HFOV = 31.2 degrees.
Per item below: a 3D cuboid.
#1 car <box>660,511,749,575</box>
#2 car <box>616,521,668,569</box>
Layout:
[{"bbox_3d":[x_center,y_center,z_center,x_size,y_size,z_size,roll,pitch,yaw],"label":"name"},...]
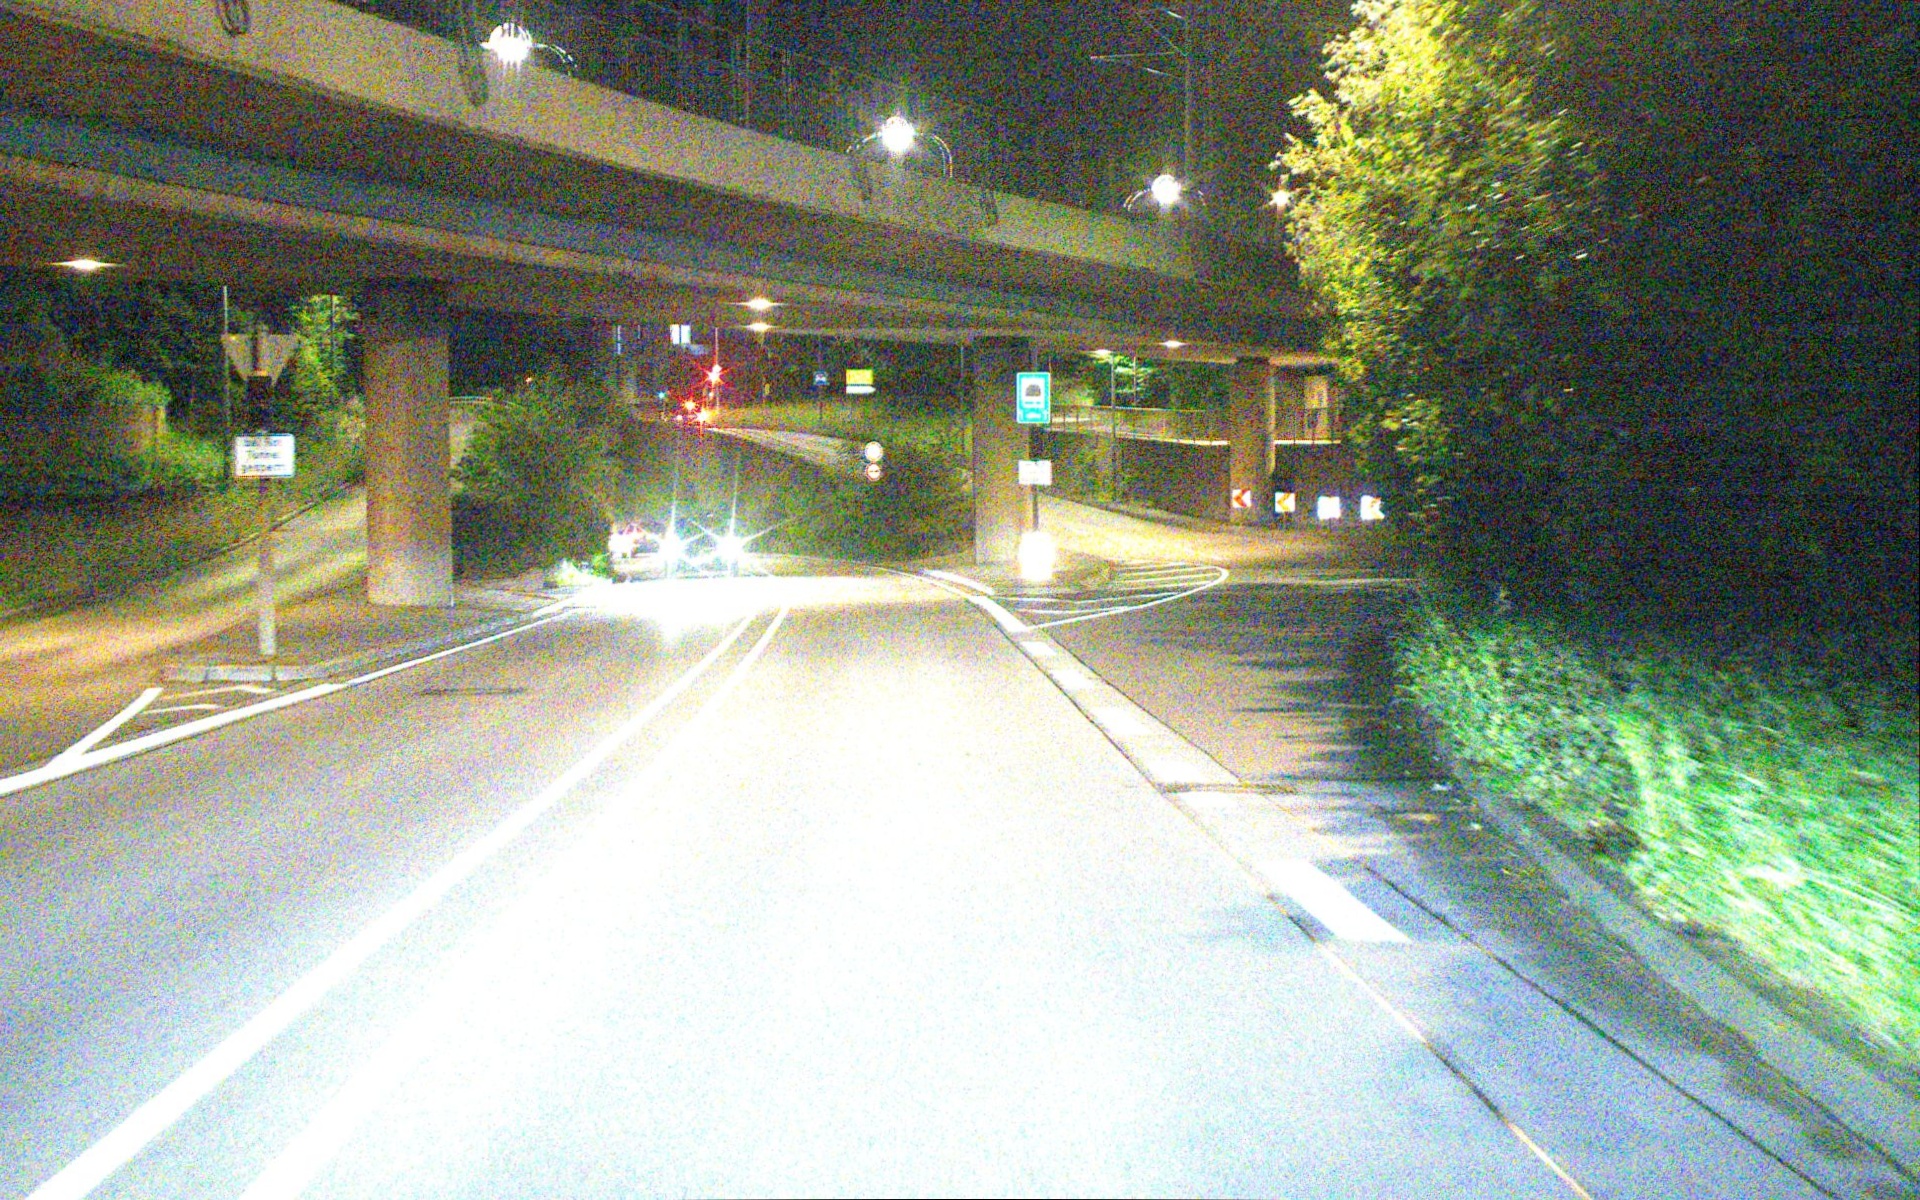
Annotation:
[{"bbox_3d":[-6.600,-1.474,89.278,1.882,1.549,4.218,-2,1,1],"label":"car"},{"bbox_3d":[-13.995,-2.387,151.086,1.918,2.007,4.123,2,0,-10],"label":"car"}]
